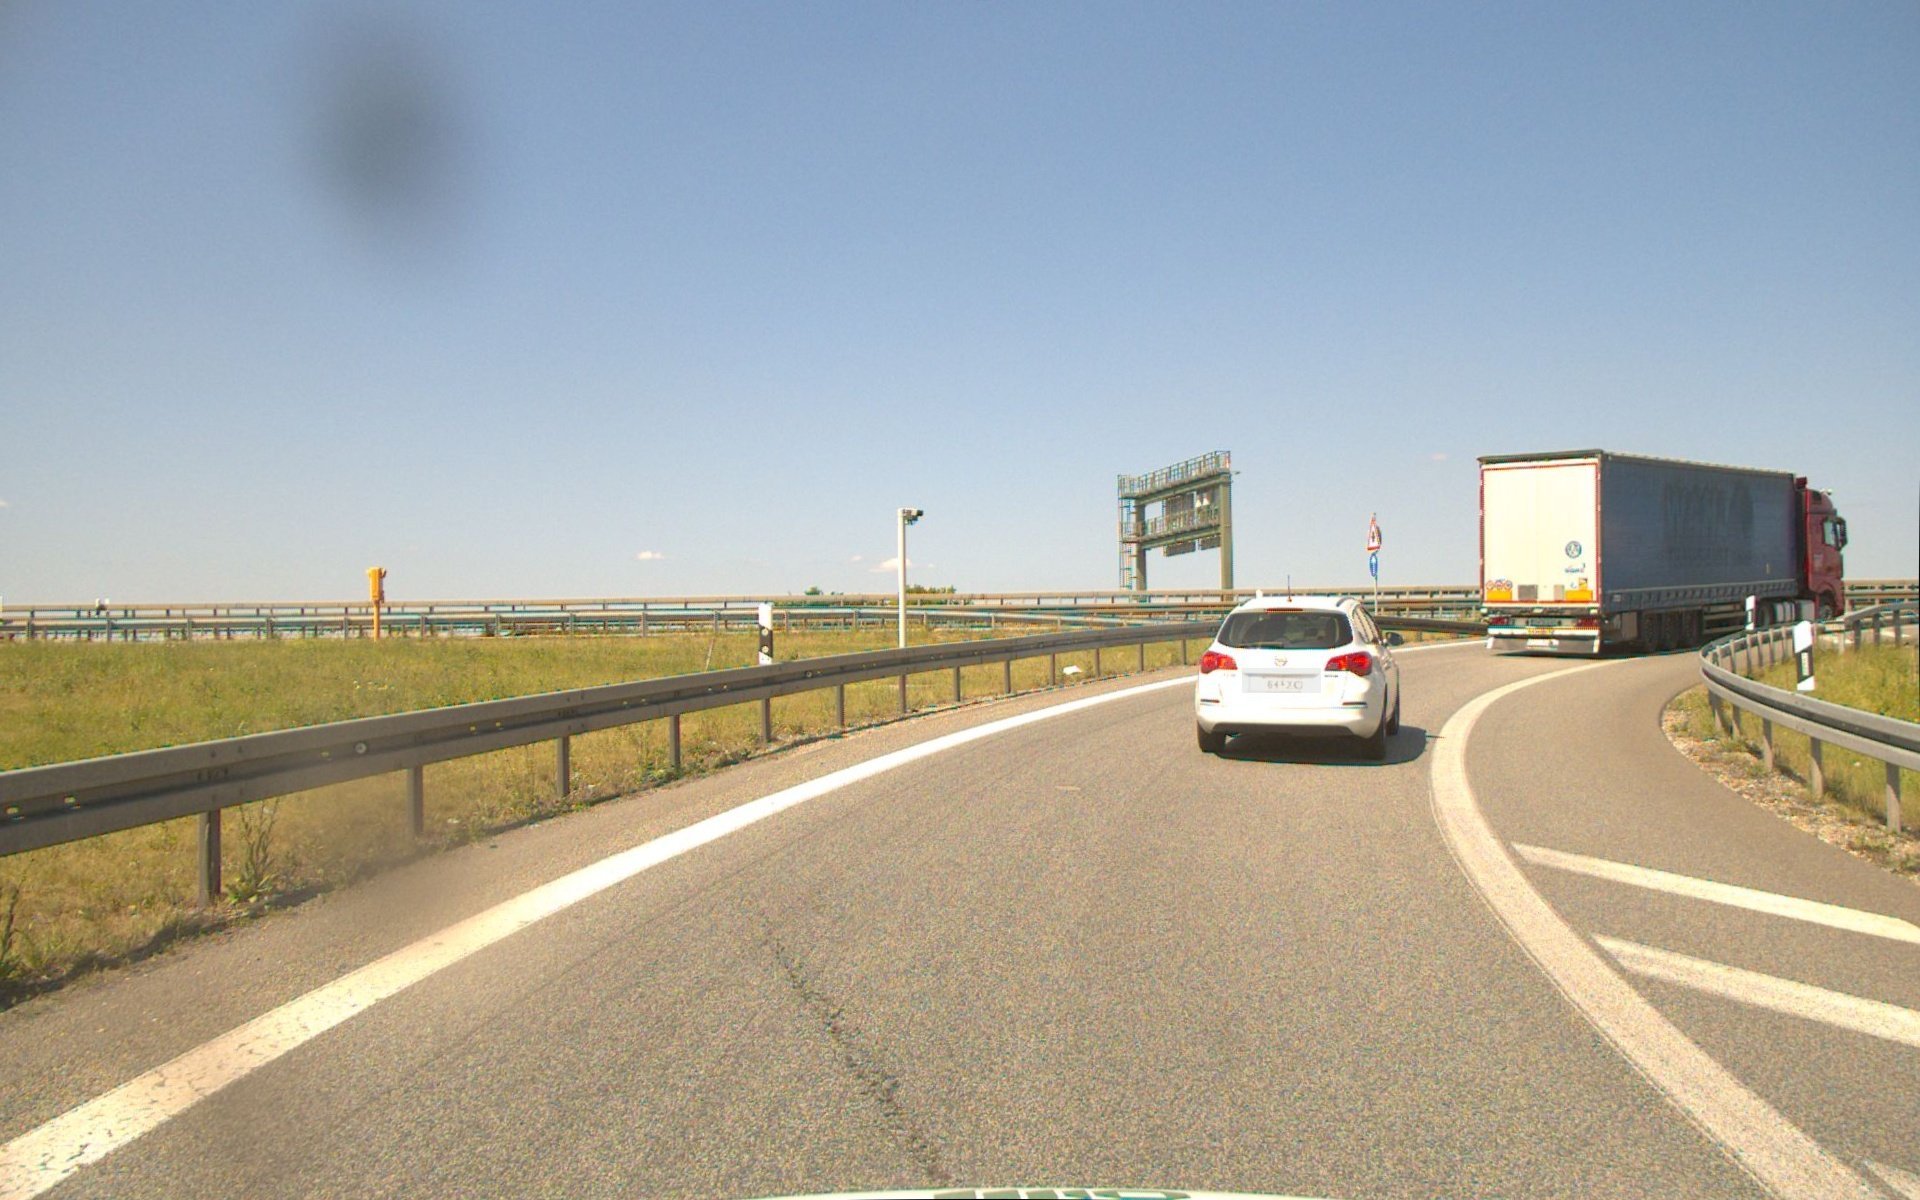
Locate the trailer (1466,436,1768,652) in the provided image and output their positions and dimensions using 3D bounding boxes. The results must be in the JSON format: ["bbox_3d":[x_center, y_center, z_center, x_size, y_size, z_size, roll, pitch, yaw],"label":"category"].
[{"bbox_3d":[15.190,-1.050,37.457,2.869,4.218,11.193,0,0,41],"label":"trailer"}]

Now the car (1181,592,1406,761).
[{"bbox_3d":[3.500,0.671,16.744,1.815,1.468,4.374,0,0,17],"label":"car"}]

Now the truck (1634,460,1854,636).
[{"bbox_3d":[20.512,-1.230,43.086,6.868,4.218,2.876,1,0,-43],"label":"truck"}]
